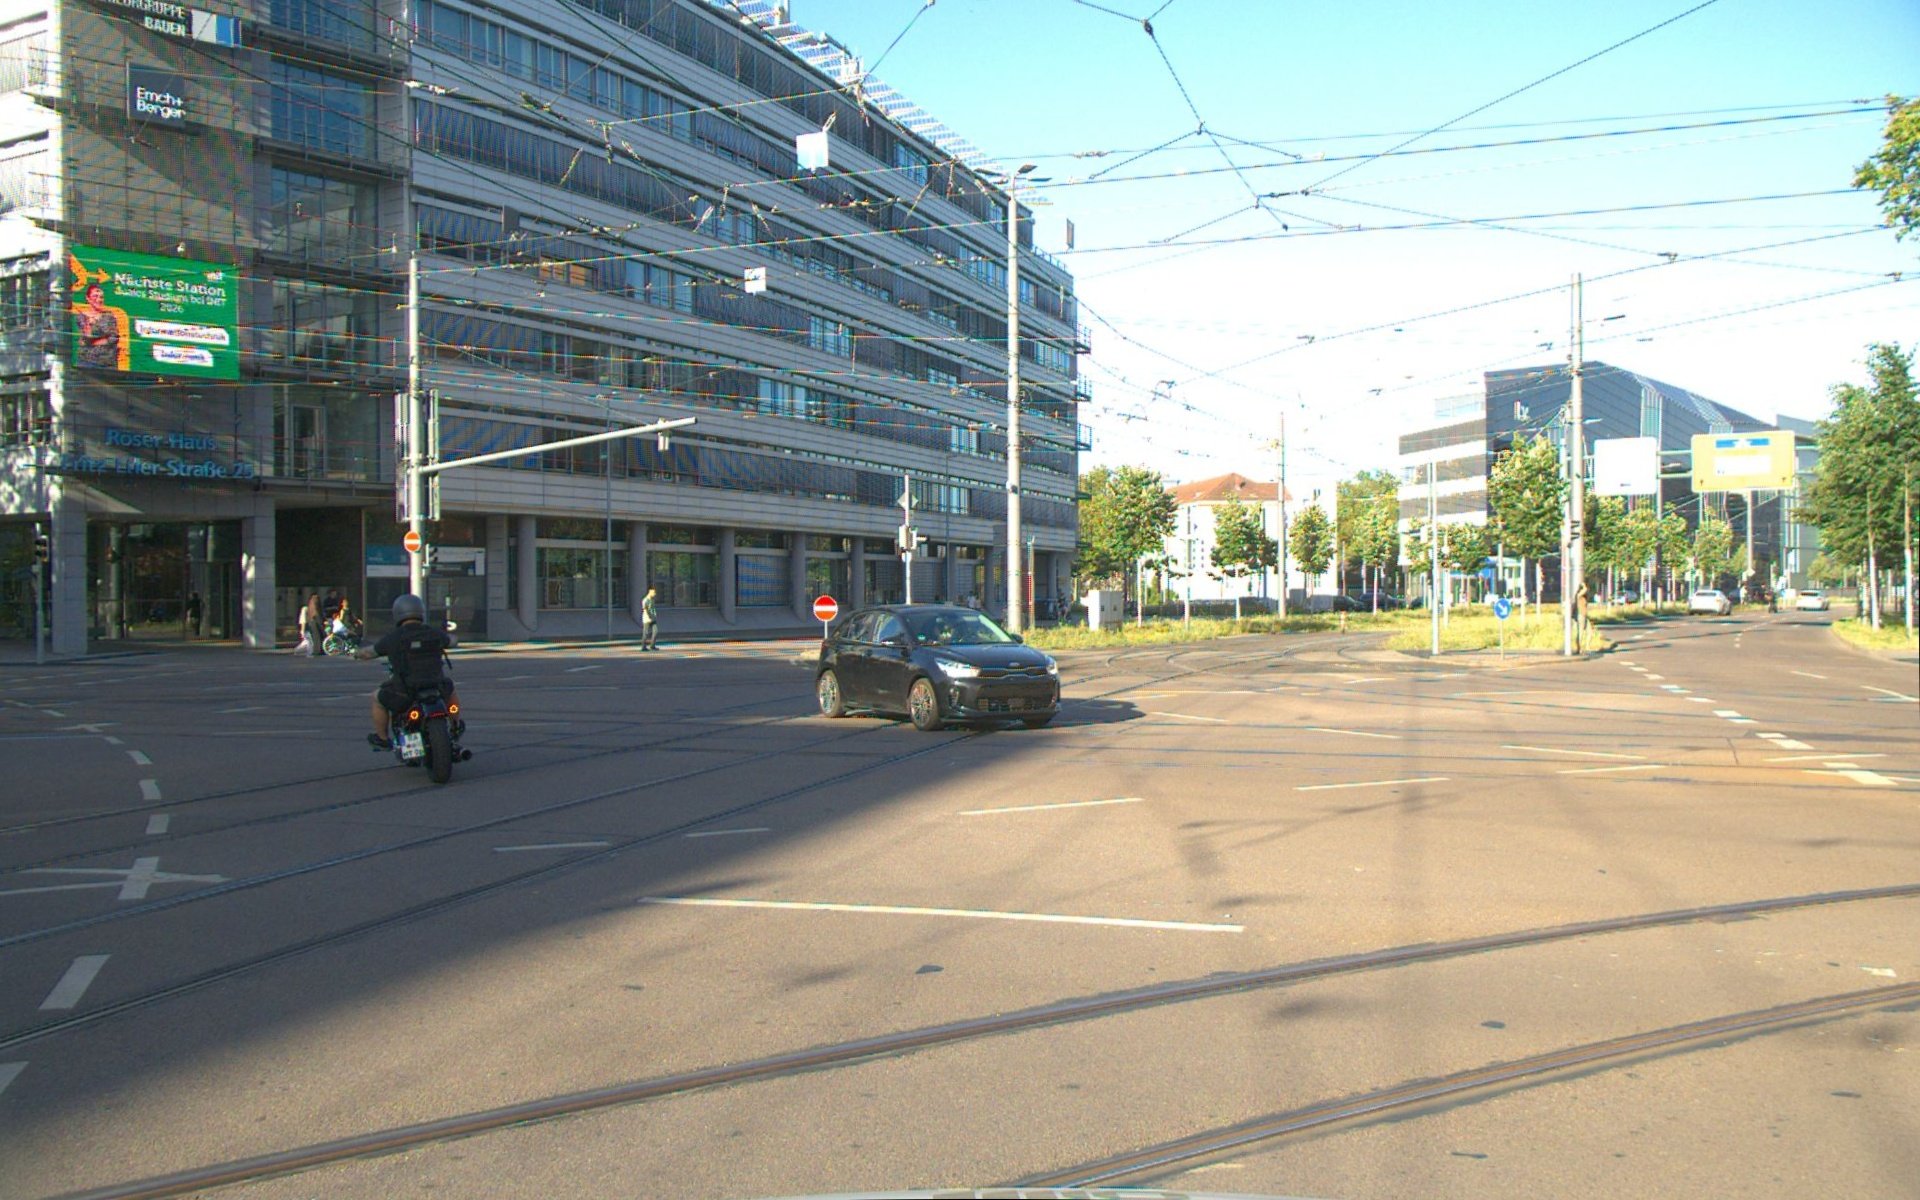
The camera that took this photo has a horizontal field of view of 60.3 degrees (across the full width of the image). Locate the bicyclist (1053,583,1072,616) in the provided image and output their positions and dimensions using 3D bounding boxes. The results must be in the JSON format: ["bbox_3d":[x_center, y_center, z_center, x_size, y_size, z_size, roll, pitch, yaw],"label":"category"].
[{"bbox_3d":[5.227,-0.030,84.099,0.748,1.696,0.994,0,0,18],"label":"bicyclist"}]

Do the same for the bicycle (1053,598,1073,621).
[{"bbox_3d":[5.232,0.475,84.109,0.629,1.127,1.686,0,0,18],"label":"bicycle"}]

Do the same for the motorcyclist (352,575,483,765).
[{"bbox_3d":[-4.798,0.581,14.570,1.008,1.579,1.278,1,0,-22],"label":"motorcyclist"}]

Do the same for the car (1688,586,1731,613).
[{"bbox_3d":[43.967,-0.029,97.007,1.867,1.534,3.991,1,0,31],"label":"car"}]

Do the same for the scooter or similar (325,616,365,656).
[{"bbox_3d":[-17.790,1.033,47.864,0.997,1.149,0.548,0,0,-13],"label":"scooter or similar"}]

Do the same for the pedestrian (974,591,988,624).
[{"bbox_3d":[1.094,0.392,87.879,0.537,1.764,0.641,-1,0,22],"label":"pedestrian"}]

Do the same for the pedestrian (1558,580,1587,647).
[{"bbox_3d":[14.702,0.318,39.720,0.643,1.610,0.489,0,1,20],"label":"pedestrian"}]

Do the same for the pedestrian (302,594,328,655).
[{"bbox_3d":[-18.587,0.703,47.677,0.625,1.738,0.580,0,0,-13],"label":"pedestrian"}]

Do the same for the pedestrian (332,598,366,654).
[{"bbox_3d":[-18.139,0.756,49.126,0.707,1.645,0.654,0,0,25],"label":"pedestrian"}]

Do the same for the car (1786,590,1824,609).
[{"bbox_3d":[62.239,-0.056,121.800,1.981,1.400,4.025,0,0,35],"label":"car"}]

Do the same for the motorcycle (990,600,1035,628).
[{"bbox_3d":[2.455,0.643,77.024,0.964,1.253,2.939,0,0,27],"label":"motorcycle"}]

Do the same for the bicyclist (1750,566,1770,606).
[{"bbox_3d":[54.246,-0.940,112.090,0.999,2.670,1.467,0,0,35],"label":"bicyclist"}]

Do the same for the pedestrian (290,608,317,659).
[{"bbox_3d":[-18.556,0.950,46.733,0.625,1.426,0.544,0,0,-13],"label":"pedestrian"}]

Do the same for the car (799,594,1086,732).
[{"bbox_3d":[-0.341,0.692,20.595,1.772,1.491,4.269,-1,1,-29],"label":"car"}]

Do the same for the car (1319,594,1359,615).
[{"bbox_3d":[37.073,0.407,161.824,1.963,2.049,3.978,-1,0,-19],"label":"car"}]

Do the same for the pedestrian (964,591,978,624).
[{"bbox_3d":[0.575,0.381,88.105,0.537,1.764,0.641,-1,0,22],"label":"pedestrian"}]

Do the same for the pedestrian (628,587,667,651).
[{"bbox_3d":[-9.175,0.561,48.525,0.864,1.855,0.677,-2,-1,22],"label":"pedestrian"}]

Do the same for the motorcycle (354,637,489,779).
[{"bbox_3d":[-4.796,0.918,14.629,0.991,1.145,2.307,1,-2,-22],"label":"motorcycle"}]

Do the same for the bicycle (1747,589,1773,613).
[{"bbox_3d":[54.247,0.045,112.142,0.998,1.607,3.562,0,0,35],"label":"bicycle"}]

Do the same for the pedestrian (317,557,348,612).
[{"bbox_3d":[-20.126,-0.500,53.043,0.631,1.745,0.689,0,0,29],"label":"pedestrian"}]
